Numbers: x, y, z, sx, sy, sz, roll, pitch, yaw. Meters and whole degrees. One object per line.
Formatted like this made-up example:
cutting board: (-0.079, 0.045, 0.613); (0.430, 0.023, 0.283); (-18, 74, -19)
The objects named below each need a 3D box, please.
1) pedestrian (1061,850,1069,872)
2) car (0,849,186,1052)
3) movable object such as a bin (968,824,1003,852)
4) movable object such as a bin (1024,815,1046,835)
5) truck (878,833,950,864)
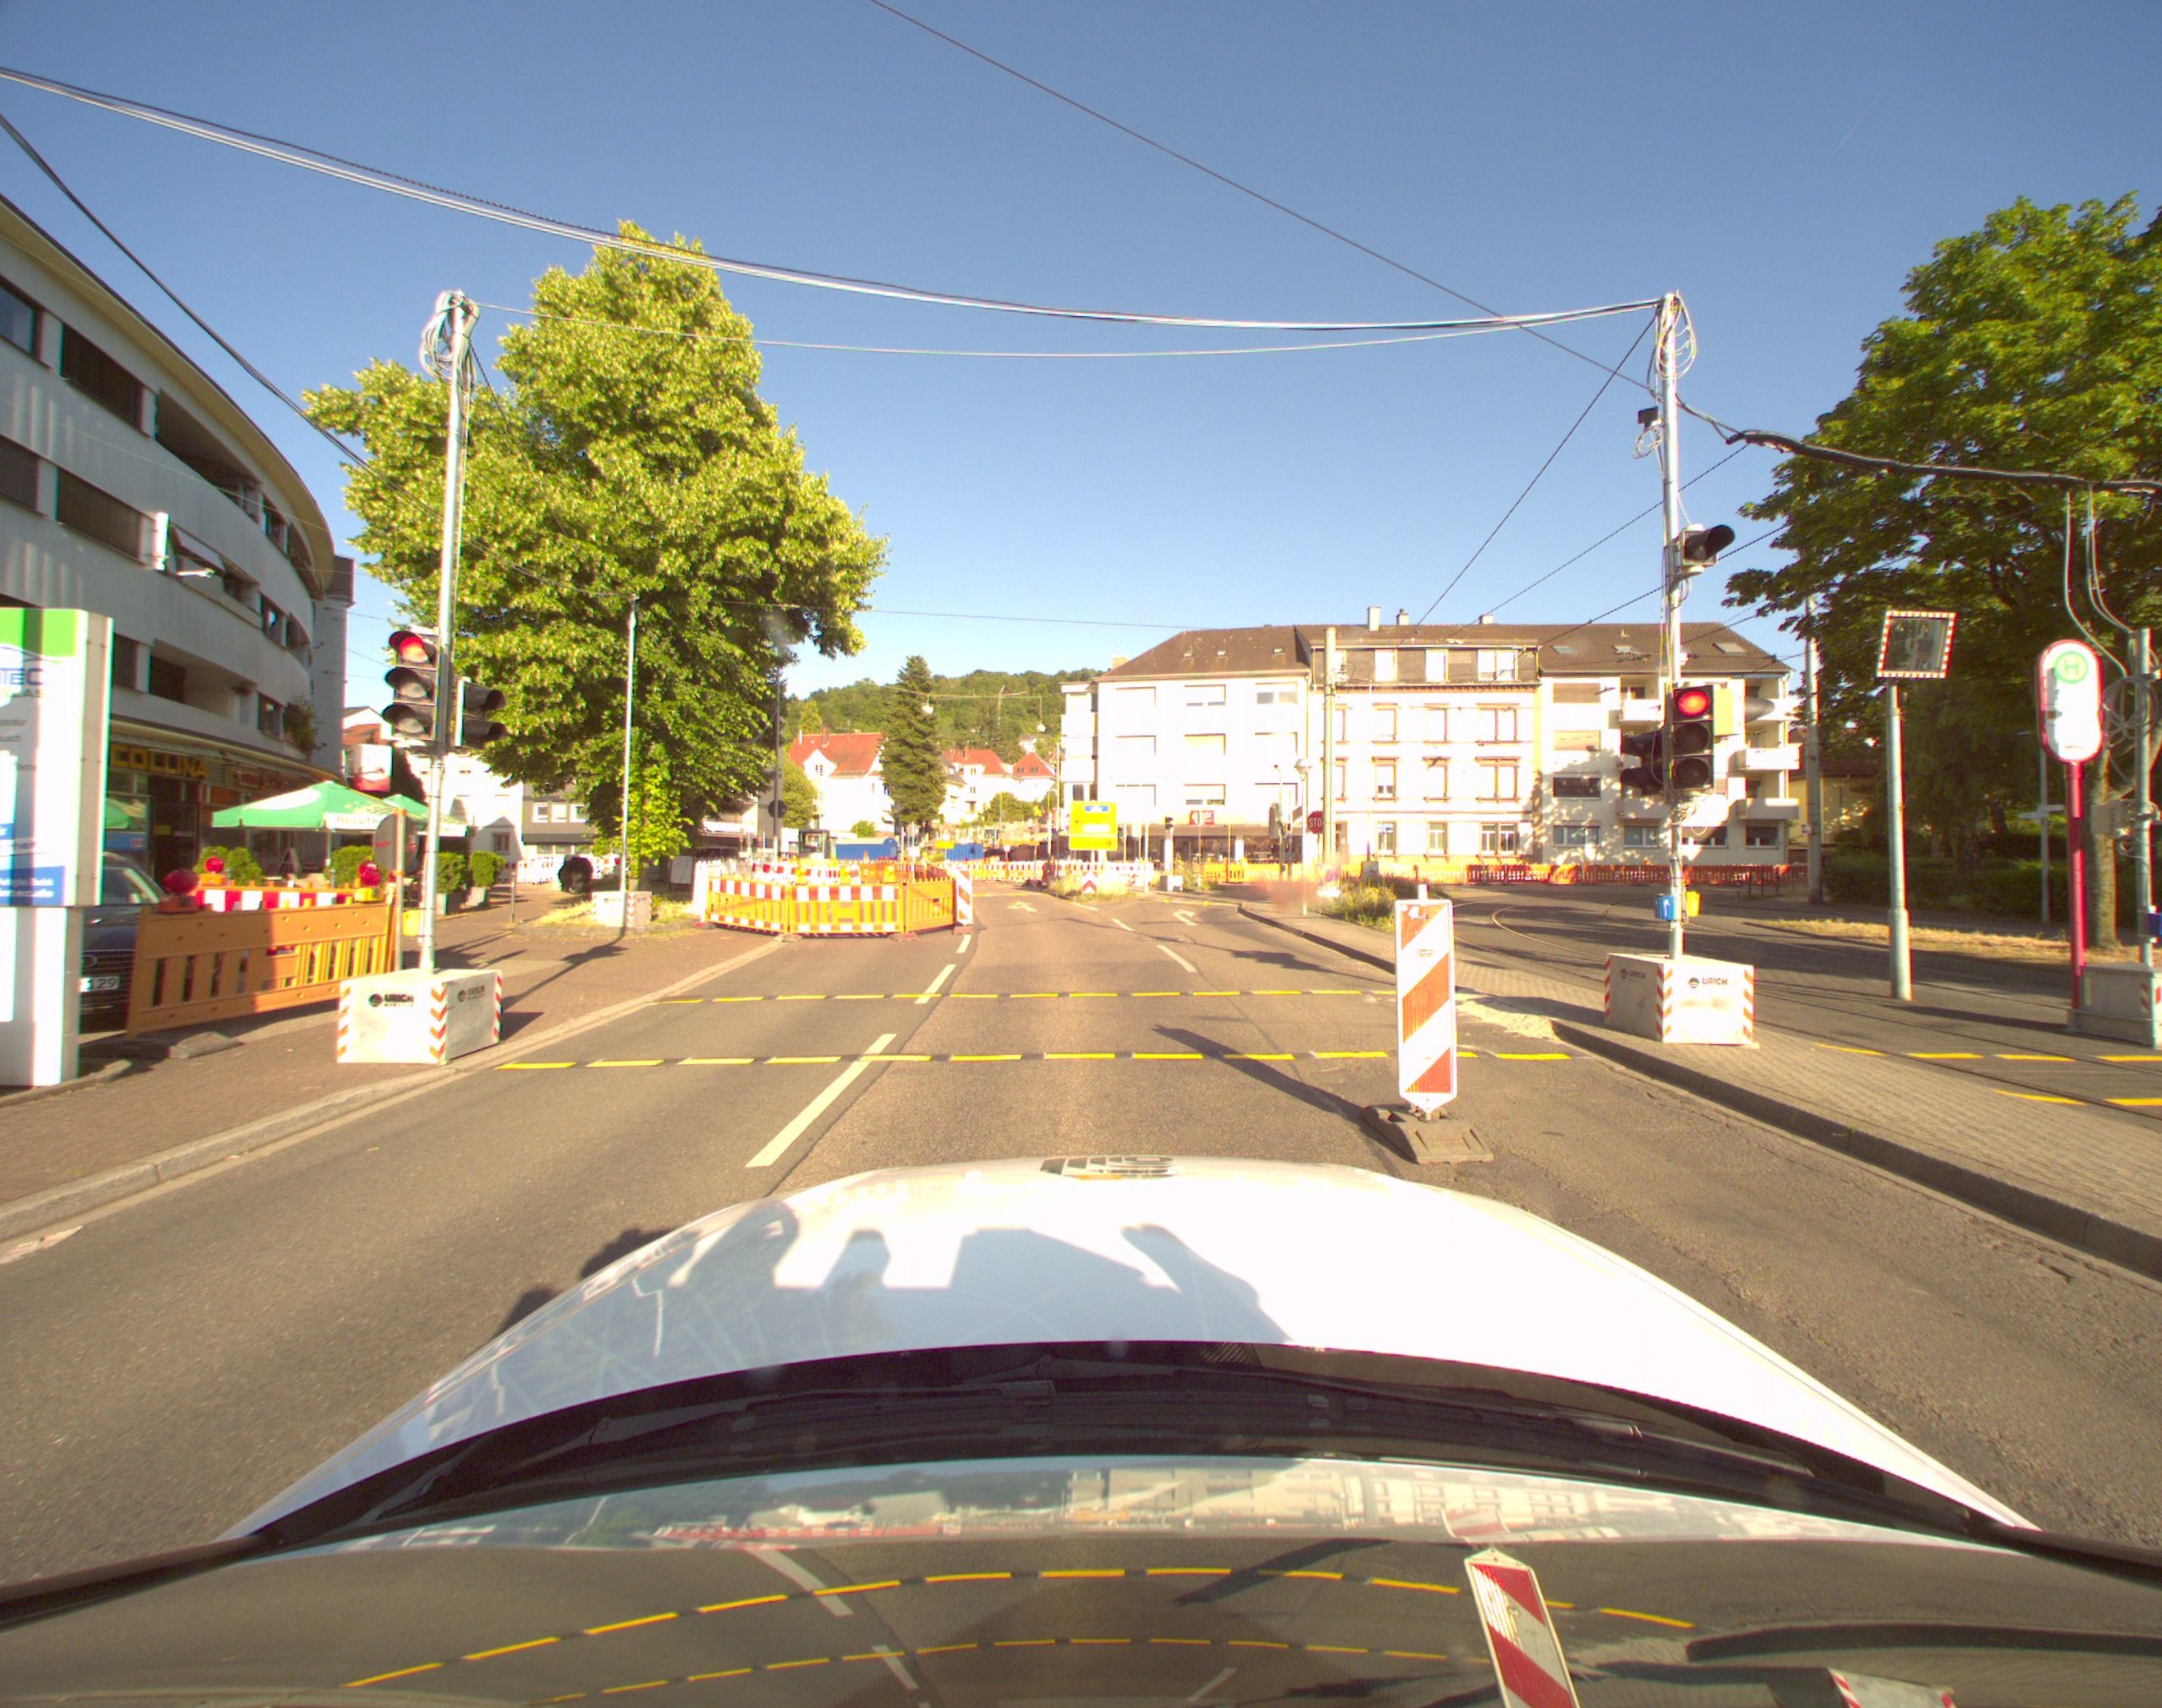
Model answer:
pedestrian: (-1.356, 0.575, 68.024); (0.638, 1.760, 0.718); (0, 0, 2)
car: (-9.599, 0.717, 7.529); (4.246, 1.454, 1.660); (1, 0, 43)
movable object such as a bin: (-9.277, -1.505, 79.626); (2.176, 2.690, 4.013); (0, 0, 12)
movable object such as a bin: (-6.418, -4.025, 114.189); (2.176, 2.690, 4.013); (0, 0, 12)
truck: (-13.980, -0.428, 69.171); (2.340, 2.416, 9.184); (0, 0, 13)
